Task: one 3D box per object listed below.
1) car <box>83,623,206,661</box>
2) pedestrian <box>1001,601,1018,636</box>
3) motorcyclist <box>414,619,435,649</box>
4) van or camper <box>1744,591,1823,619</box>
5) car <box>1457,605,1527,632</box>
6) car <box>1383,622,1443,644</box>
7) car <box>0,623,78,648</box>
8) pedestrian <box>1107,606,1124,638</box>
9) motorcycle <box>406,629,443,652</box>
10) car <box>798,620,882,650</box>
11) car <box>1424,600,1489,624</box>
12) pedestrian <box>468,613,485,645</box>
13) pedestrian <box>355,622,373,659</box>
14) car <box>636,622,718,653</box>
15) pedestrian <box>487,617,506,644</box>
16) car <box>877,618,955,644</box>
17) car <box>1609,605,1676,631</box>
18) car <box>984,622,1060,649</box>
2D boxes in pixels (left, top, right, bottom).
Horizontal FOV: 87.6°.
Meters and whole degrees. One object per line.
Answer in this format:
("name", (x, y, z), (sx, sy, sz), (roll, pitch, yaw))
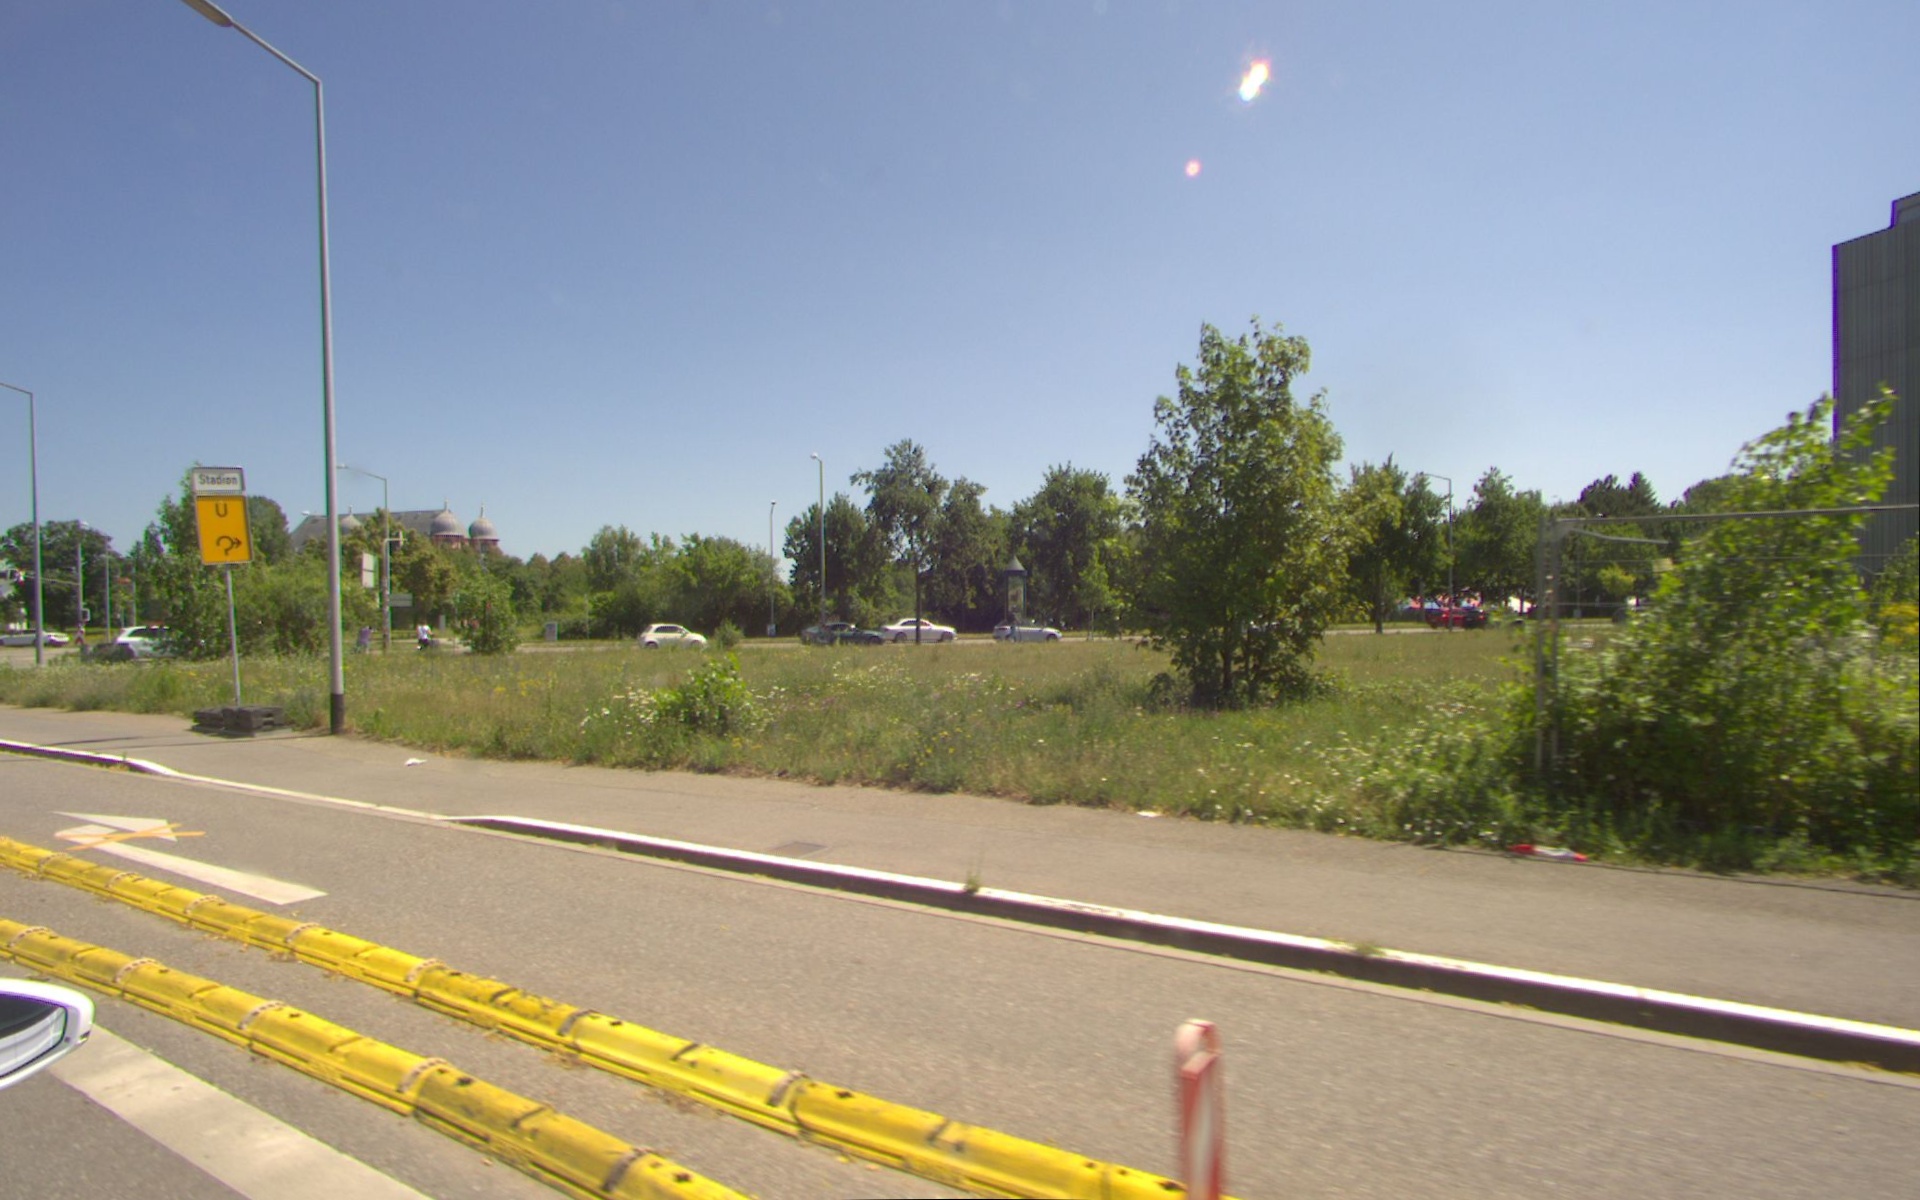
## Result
("car", (-35.790, 1.815, 44.006), (1.720, 1.572, 3.969), (-1, -2, 41))
("pedestrian", (2.454, 0.919, 49.587), (0.724, 1.712, 0.497), (0, -1, -18))
("motorcyclist", (-23.418, 1.478, 43.814), (0.570, 1.306, 0.615), (0, -1, 3))
("van or camper", (80.776, 0.527, 98.237), (7.383, 2.728, 2.508), (0, -1, -19))
("car", (35.804, 1.231, 67.404), (3.928, 1.772, 1.806), (0, -1, -15))
("car", (33.849, 2.461, 74.873), (3.928, 1.572, 1.738), (0, -1, -16))
("car", (-72.852, 2.780, 78.813), (5.079, 1.810, 2.026), (-1, 0, 0))
("pedestrian", (7.720, 1.089, 49.724), (0.724, 1.583, 0.497), (0, -1, -18))
("motorcycle", (-23.392, 1.768, 43.767), (0.619, 0.982, 1.709), (0, -2, 3))
("car", (-6.598, 1.944, 55.198), (4.334, 1.571, 1.736), (1, -2, -20))
("car", (36.345, 0.881, 73.293), (3.924, 1.772, 1.808), (0, -1, -10))
("pedestrian", (-28.632, 1.709, 59.262), (0.726, 1.894, 0.648), (-1, -1, 34))
("pedestrian", (-25.726, 1.765, 43.220), (0.506, 1.583, 0.496), (-1, -1, 32))
("car", (-14.960, 1.950, 52.892), (3.939, 1.572, 1.733), (0, -2, -27))
("pedestrian", (-28.088, 1.842, 60.676), (0.811, 1.583, 0.791), (-1, -1, 34))
("car", (-2.716, 1.902, 61.619), (4.559, 1.572, 1.738), (0, -1, -16))
("car", (48.178, 1.262, 70.716), (3.928, 1.772, 1.806), (0, -1, -15))
("car", (3.564, 2.043, 57.970), (4.002, 1.524, 1.998), (0, -1, -15))
